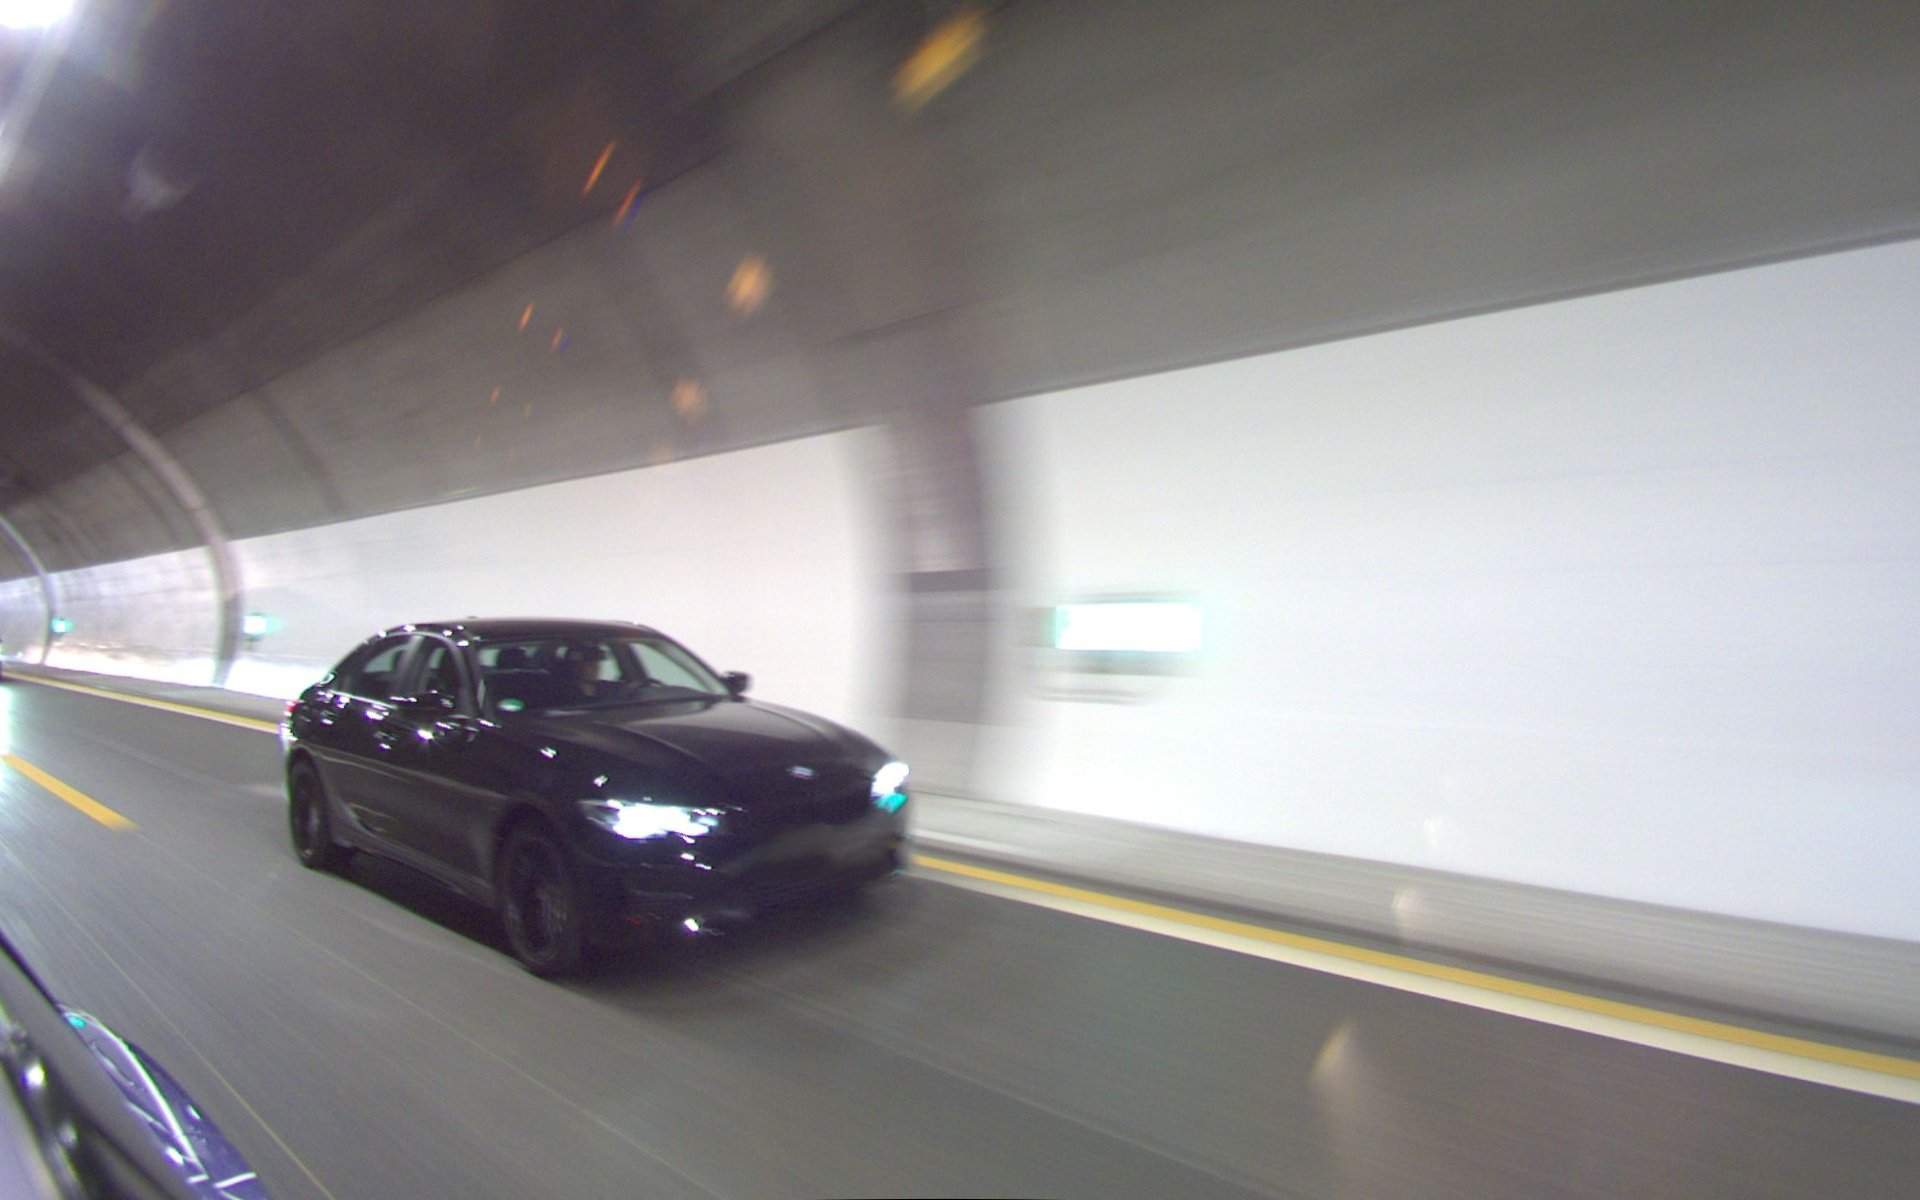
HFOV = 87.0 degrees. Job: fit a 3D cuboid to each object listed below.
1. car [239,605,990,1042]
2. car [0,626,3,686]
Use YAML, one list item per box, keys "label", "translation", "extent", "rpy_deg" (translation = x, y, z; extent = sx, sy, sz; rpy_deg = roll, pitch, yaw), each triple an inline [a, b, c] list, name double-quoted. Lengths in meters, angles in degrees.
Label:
- label: "car"
  translation: [-2.285, 0.803, 5.679]
  extent: [4.879, 1.449, 1.760]
  rpy_deg: [-2, -1, 41]
- label: "car"
  translation: [-25.802, 1.426, 25.482]
  extent: [4.876, 1.449, 1.761]
  rpy_deg: [-1, -1, 38]
